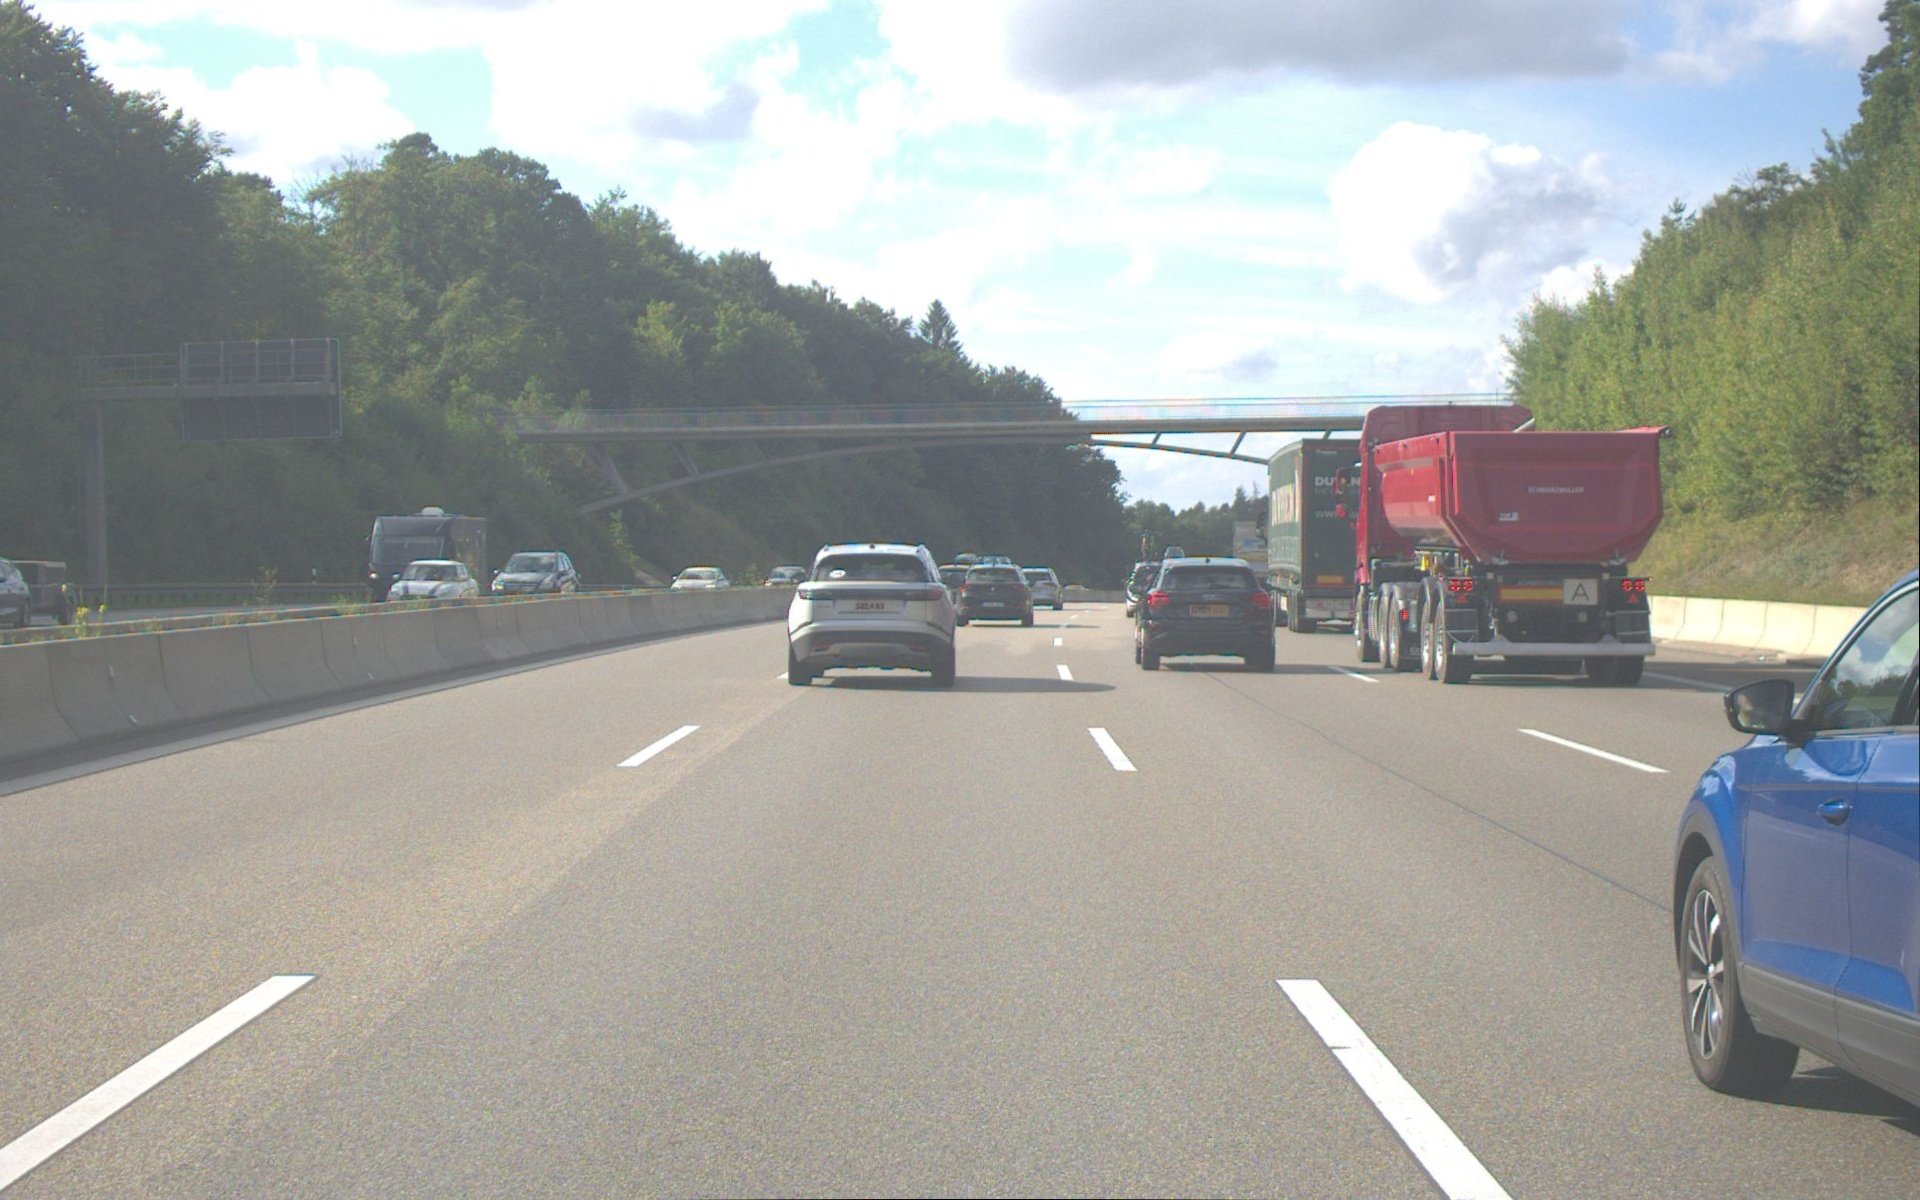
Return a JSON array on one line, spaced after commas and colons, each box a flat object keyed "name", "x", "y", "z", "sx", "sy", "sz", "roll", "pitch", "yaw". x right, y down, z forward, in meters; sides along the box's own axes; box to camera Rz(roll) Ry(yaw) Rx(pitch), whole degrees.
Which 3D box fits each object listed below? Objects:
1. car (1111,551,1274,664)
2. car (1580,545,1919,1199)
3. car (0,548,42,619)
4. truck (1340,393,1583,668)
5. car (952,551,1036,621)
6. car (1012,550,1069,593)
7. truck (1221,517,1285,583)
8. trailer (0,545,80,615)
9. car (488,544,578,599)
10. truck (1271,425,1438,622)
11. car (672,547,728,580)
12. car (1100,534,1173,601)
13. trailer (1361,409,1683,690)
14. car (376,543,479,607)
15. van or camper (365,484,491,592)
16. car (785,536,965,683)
[{"name": "car", "x": 3.126, "y": 0.077, "z": 46.889, "sx": 1.822, "sy": 1.452, "sz": 4.000, "roll": 0, "pitch": 1, "yaw": -2}, {"name": "car", "x": 2.858, "y": 0.641, "z": 8.296, "sx": 1.773, "sy": 1.525, "sz": 4.458, "roll": -1, "pitch": 1, "yaw": -2}, {"name": "car", "x": -19.578, "y": -0.338, "z": 67.732, "sx": 1.812, "sy": 1.385, "sz": 4.937, "roll": 0, "pitch": 1, "yaw": -2}, {"name": "truck", "x": 7.122, "y": -0.991, "z": 49.555, "sx": 2.710, "sy": 3.706, "sz": 5.817, "roll": 0, "pitch": 1, "yaw": 1}, {"name": "car", "x": 0.816, "y": -0.342, "z": 80.518, "sx": 1.822, "sy": 1.541, "sz": 4.000, "roll": 1, "pitch": 1, "yaw": 2}, {"name": "car", "x": 2.828, "y": -0.996, "z": 120.201, "sx": 1.822, "sy": 1.452, "sz": 4.000, "roll": 0, "pitch": 1, "yaw": 3}, {"name": "truck", "x": 13.488, "y": -2.288, "z": 157.793, "sx": 2.845, "sy": 2.915, "sz": 8.384, "roll": 0, "pitch": 1, "yaw": 5}, {"name": "trailer", "x": -19.709, "y": -0.431, "z": 72.084, "sx": 1.658, "sy": 1.409, "sz": 3.710, "roll": 0, "pitch": 1, "yaw": -1}, {"name": "car", "x": -12.201, "y": -0.841, "z": 98.428, "sx": 1.922, "sy": 1.534, "sz": 4.702, "roll": 0, "pitch": 1, "yaw": 1}, {"name": "truck", "x": 8.375, "y": -1.615, "z": 74.067, "sx": 3.119, "sy": 3.921, "sz": 10.410, "roll": 0, "pitch": 1, "yaw": 4}, {"name": "car", "x": -10.337, "y": -1.454, "z": 136.895, "sx": 1.845, "sy": 1.292, "sz": 4.259, "roll": 0, "pitch": 1, "yaw": 1}, {"name": "car", "x": 4.964, "y": -0.935, "z": 97.251, "sx": 1.893, "sy": 1.850, "sz": 4.100, "roll": 0, "pitch": 1, "yaw": 1}, {"name": "trailer", "x": 7.067, "y": -0.665, "z": 44.643, "sx": 2.710, "sy": 3.220, "sz": 9.733, "roll": 0, "pitch": 1, "yaw": 1}, {"name": "car", "x": -13.008, "y": -0.634, "z": 84.205, "sx": 1.815, "sy": 1.530, "sz": 4.316, "roll": 0, "pitch": 1, "yaw": 1}, {"name": "van or camper", "x": -15.920, "y": -1.851, "z": 103.252, "sx": 2.559, "sy": 3.115, "sz": 7.334, "roll": 0, "pitch": 1, "yaw": 1}, {"name": "car", "x": -0.977, "y": 0.056, "z": 41.306, "sx": 2.006, "sy": 1.610, "sz": 5.301, "roll": 1, "pitch": 1, "yaw": 0}]
